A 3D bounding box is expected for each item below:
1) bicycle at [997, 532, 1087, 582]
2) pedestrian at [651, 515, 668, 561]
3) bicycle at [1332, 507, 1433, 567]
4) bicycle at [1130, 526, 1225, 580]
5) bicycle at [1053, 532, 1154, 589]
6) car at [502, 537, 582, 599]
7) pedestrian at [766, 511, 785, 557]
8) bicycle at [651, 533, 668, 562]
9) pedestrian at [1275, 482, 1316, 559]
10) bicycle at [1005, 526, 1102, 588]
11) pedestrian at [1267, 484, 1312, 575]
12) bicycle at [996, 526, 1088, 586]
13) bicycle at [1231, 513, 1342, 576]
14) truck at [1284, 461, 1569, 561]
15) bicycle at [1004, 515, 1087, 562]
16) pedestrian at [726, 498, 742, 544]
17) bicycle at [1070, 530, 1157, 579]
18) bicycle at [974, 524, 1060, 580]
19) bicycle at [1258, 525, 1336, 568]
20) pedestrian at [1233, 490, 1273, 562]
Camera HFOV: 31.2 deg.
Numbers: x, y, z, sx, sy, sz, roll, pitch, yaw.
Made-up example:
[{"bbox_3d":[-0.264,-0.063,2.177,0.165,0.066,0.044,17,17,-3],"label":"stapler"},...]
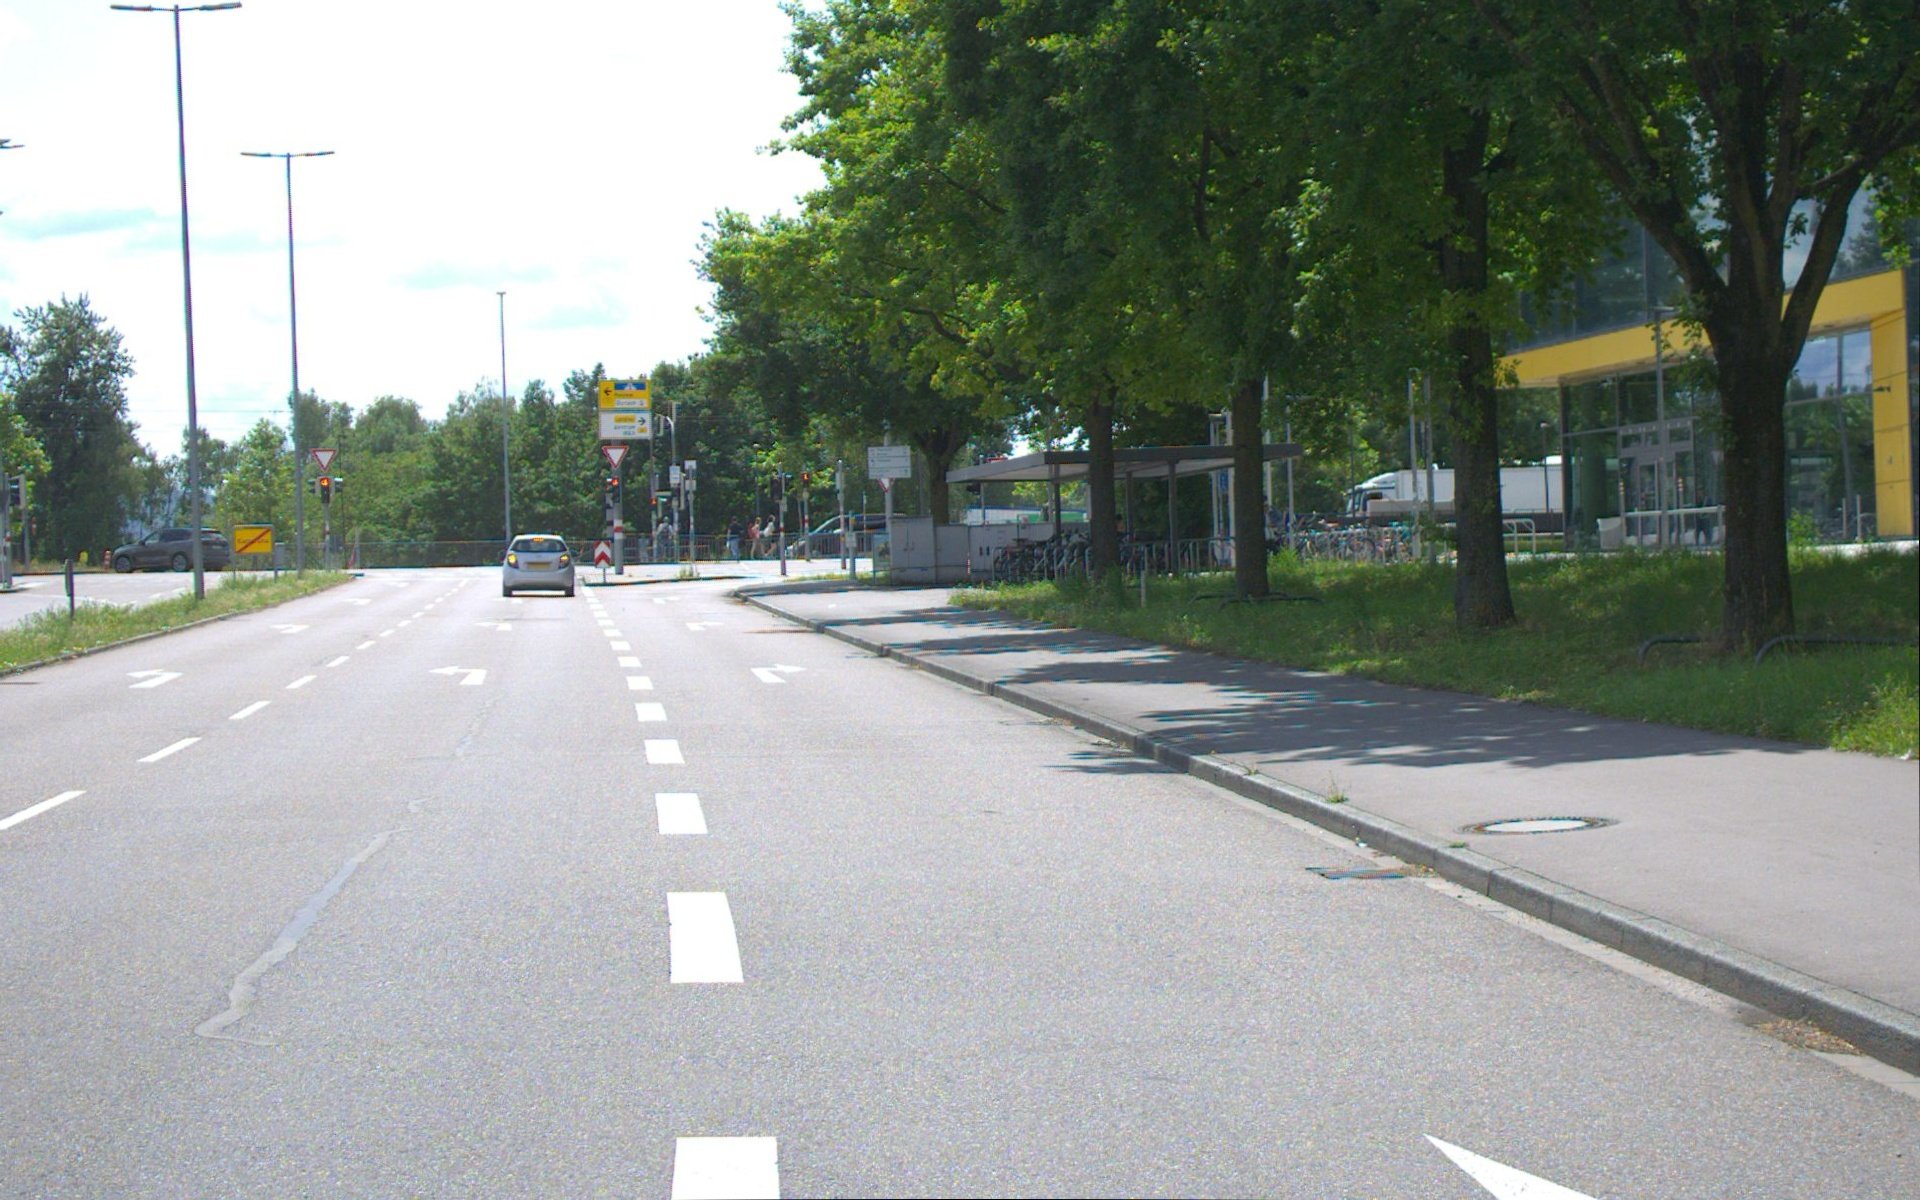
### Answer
[{"bbox_3d":[1.771,-0.926,74.214,1.861,0.991,0.424,-3,1,-11],"label":"bicycle"},{"bbox_3d":[-11.715,-2.408,133.994,0.611,1.763,0.672,-2,1,-5],"label":"pedestrian"},{"bbox_3d":[9.465,-1.417,77.031,2.140,1.225,0.721,-3,1,4],"label":"bicycle"},{"bbox_3d":[4.487,-0.968,70.990,1.861,0.991,0.424,-4,0,-11],"label":"bicycle"},{"bbox_3d":[2.778,-0.769,66.672,1.861,0.991,0.424,-4,2,-11],"label":"bicycle"},{"bbox_3d":[-10.206,-0.771,84.113,1.894,1.465,3.834,0,0,-6],"label":"car"},{"bbox_3d":[-7.113,-2.549,132.809,0.676,1.742,0.637,-1,3,-4],"label":"pedestrian"},{"bbox_3d":[-11.712,-2.056,134.037,0.619,1.083,1.723,-1,1,-5],"label":"bicycle"},{"bbox_3d":[9.208,-2.170,94.358,1.008,2.065,0.974,-2,0,8],"label":"pedestrian"},{"bbox_3d":[1.923,-0.883,70.529,1.896,1.166,0.424,-3,1,-5],"label":"bicycle"},{"bbox_3d":[6.383,-1.362,66.545,0.634,1.716,0.524,-3,0,29],"label":"pedestrian"},{"bbox_3d":[1.735,-0.936,72.749,1.861,1.183,0.424,-3,1,-11],"label":"bicycle"},{"bbox_3d":[6.270,-1.061,66.102,2.011,1.104,0.576,-3,1,32],"label":"bicycle"},{"bbox_3d":[20.475,-3.921,151.136,11.955,4.090,2.953,-1,1,-6],"label":"truck"},{"bbox_3d":[2.004,-1.441,80.729,1.861,0.991,0.424,-3,0,-11],"label":"bicycle"},{"bbox_3d":[-8.432,-2.942,128.184,0.523,1.715,0.730,-2,1,-3],"label":"pedestrian"},{"bbox_3d":[3.424,-1.019,76.801,1.861,1.030,0.424,-2,2,-5],"label":"bicycle"},{"bbox_3d":[1.287,-1.085,77.661,1.861,1.183,0.424,-3,2,-11],"label":"bicycle"},{"bbox_3d":[8.485,-1.353,86.508,1.861,0.991,0.424,-2,2,-5],"label":"bicycle"},{"bbox_3d":[8.019,-2.013,94.006,1.008,1.896,0.974,-2,-1,7],"label":"pedestrian"}]
